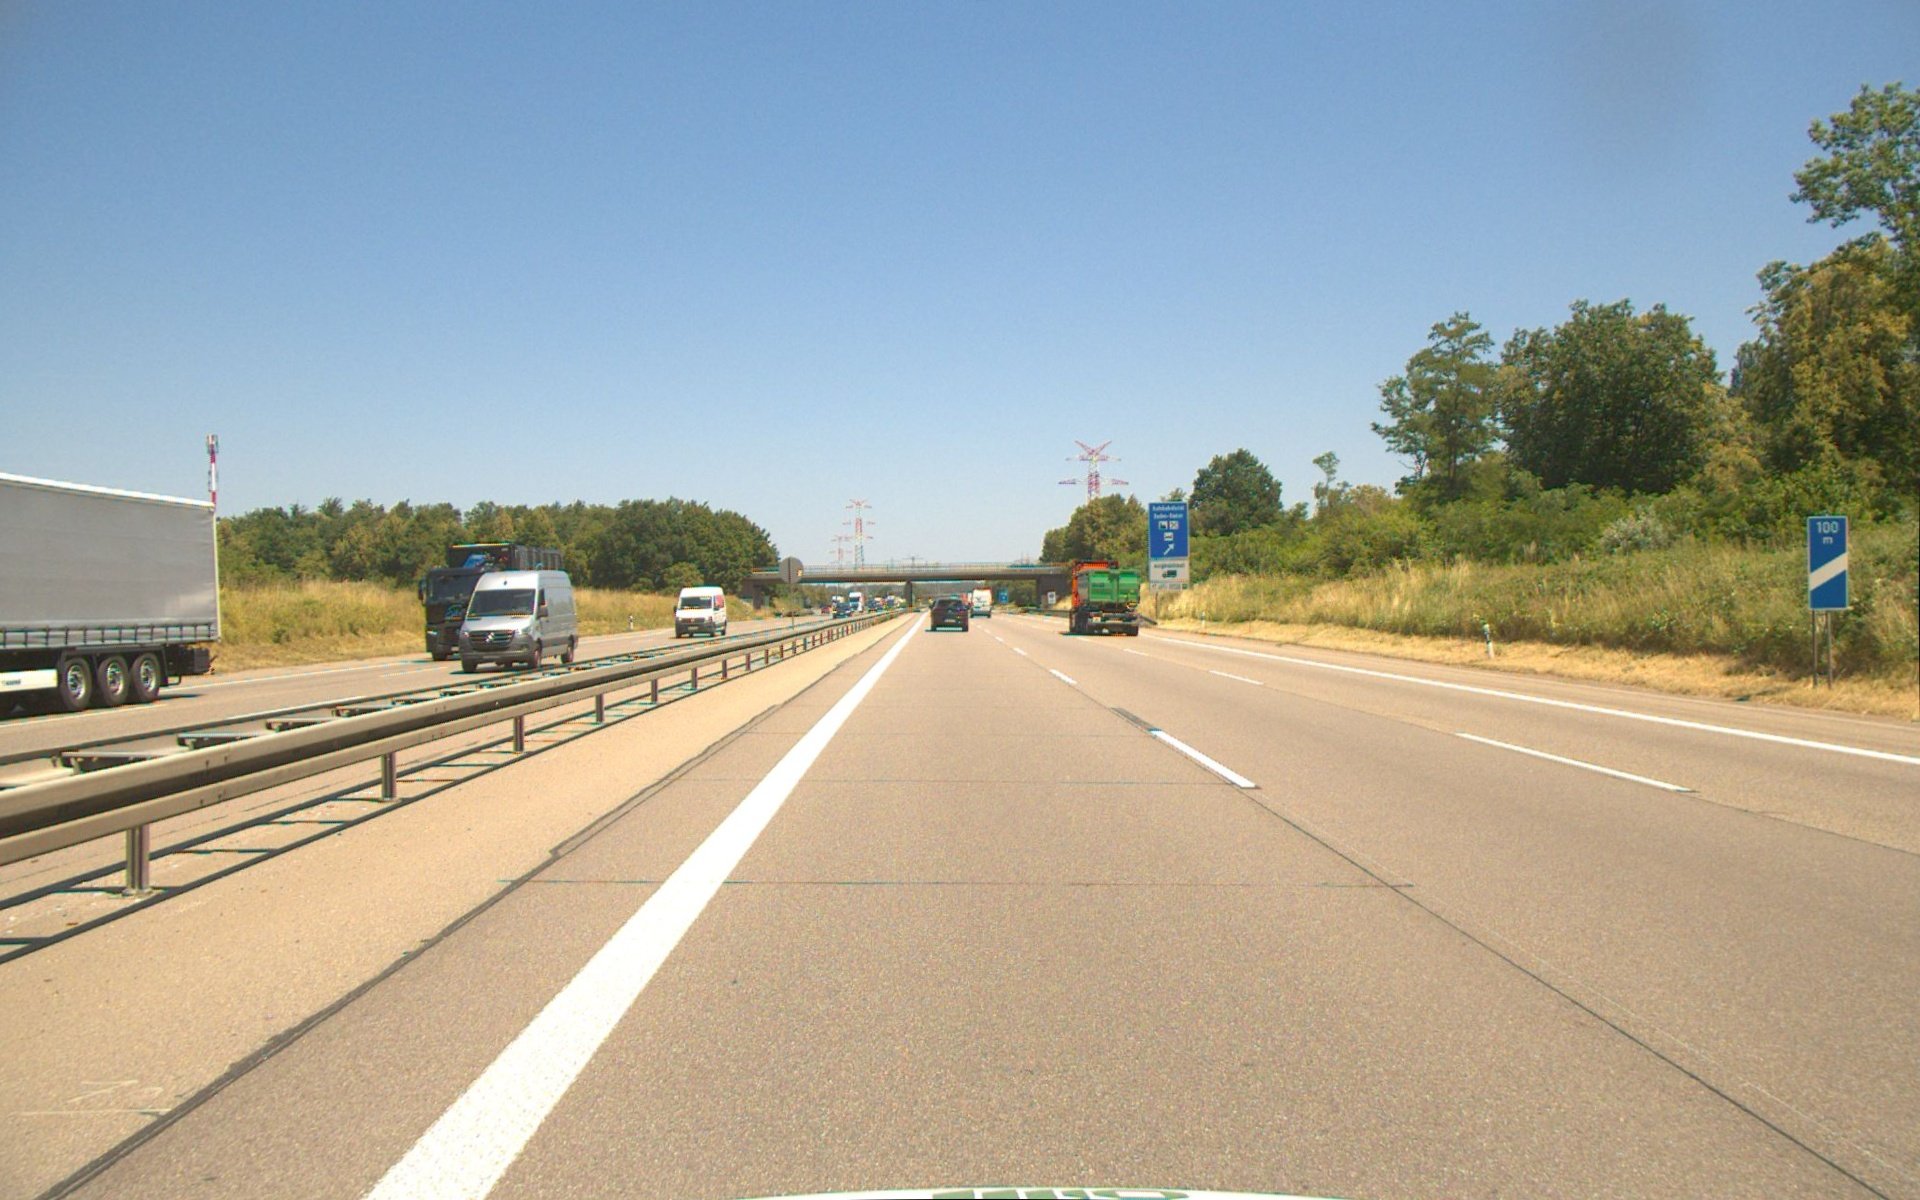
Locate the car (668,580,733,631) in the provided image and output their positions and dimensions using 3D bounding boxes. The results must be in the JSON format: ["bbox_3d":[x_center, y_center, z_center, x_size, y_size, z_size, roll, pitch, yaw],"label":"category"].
[{"bbox_3d":[-13.648,0.270,87.296,2.316,2.491,7.131,-3,0,-1],"label":"car"}]

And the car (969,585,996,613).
[{"bbox_3d":[2.227,-0.090,168.943,2.568,2.807,6.095,1,0,-1],"label":"car"}]

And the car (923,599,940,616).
[{"bbox_3d":[-3.046,0.748,175.458,1.758,1.780,3.999,1,0,-1],"label":"car"}]

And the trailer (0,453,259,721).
[{"bbox_3d":[-16.891,-0.142,29.089,3.091,4.271,14.123,-3,0,-1],"label":"trailer"}]

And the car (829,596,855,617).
[{"bbox_3d":[-11.936,0.633,167.329,2.316,1.928,5.223,-3,0,-1],"label":"car"}]

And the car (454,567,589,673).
[{"bbox_3d":[-11.823,0.503,45.117,1.953,2.615,6.389,-3,0,-1],"label":"car"}]

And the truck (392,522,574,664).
[{"bbox_3d":[-17.802,-0.228,62.848,3.308,4.705,12.184,-3,0,-1],"label":"truck"}]

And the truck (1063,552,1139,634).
[{"bbox_3d":[7.127,-0.349,85.233,2.626,3.864,12.476,1,0,-1],"label":"truck"}]

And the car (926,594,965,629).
[{"bbox_3d":[-0.786,0.575,86.647,1.953,1.780,3.999,1,0,-1],"label":"car"}]

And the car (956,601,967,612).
[{"bbox_3d":[0.200,0.954,257.630,1.711,1.662,4.003,1,0,-1],"label":"car"}]
